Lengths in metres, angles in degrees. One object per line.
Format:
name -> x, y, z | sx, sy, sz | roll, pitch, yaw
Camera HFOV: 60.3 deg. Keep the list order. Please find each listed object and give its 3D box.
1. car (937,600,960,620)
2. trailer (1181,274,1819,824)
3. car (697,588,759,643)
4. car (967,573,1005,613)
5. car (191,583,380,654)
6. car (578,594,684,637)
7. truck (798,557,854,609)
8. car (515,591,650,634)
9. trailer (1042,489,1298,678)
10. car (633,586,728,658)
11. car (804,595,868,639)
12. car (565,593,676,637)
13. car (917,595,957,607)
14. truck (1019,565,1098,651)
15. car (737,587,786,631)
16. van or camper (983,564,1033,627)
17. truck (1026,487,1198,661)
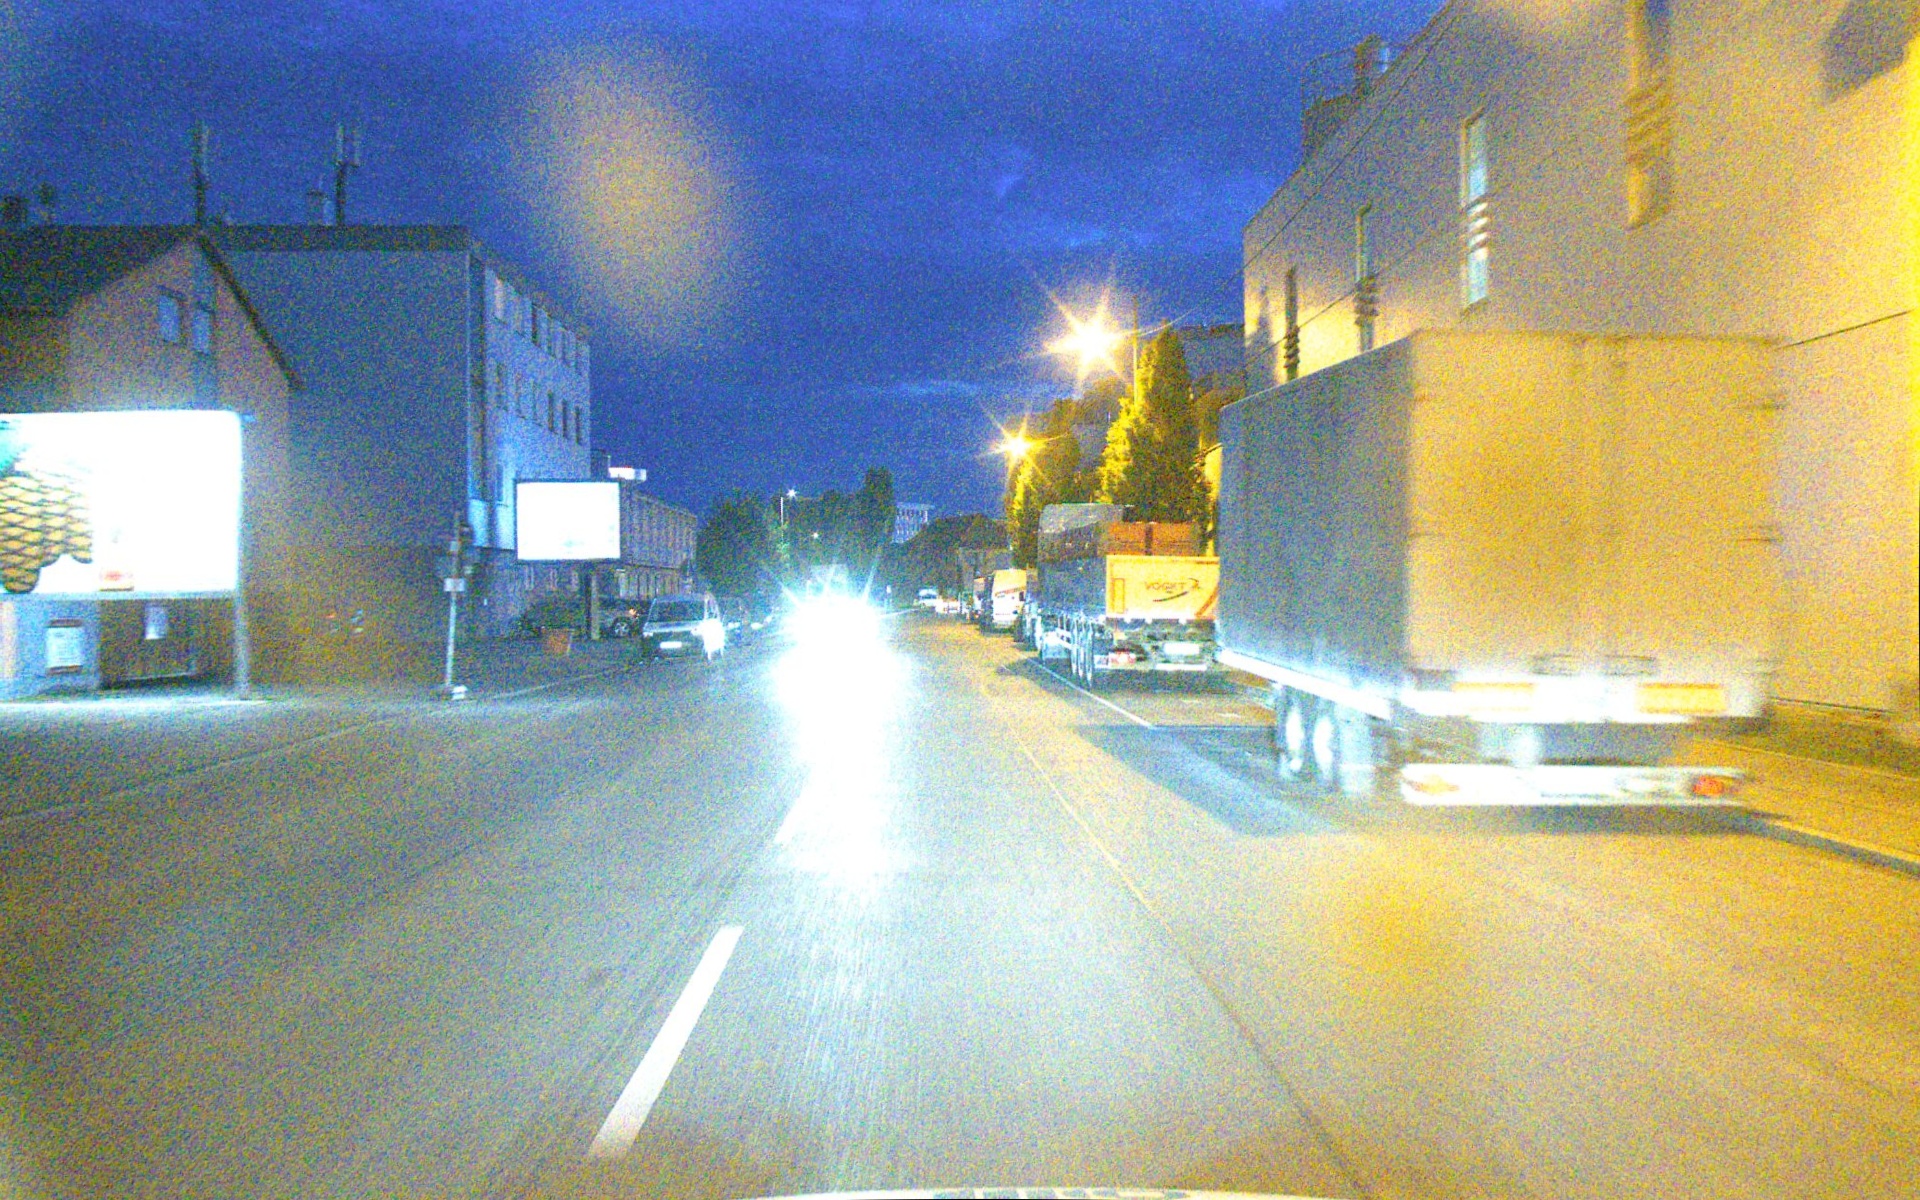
car -> -1.023, 0.861, 142.589 | 1.953, 1.713, 3.999 | -1, 0, -1
trailer -> 4.026, -0.305, 14.584 | 2.633, 3.525, 7.803 | 0, -1, -4
car -> -7.729, 0.494, 55.333 | 1.645, 1.766, 4.353 | -1, 0, -3
car -> 1.414, -0.369, 92.292 | 1.953, 2.183, 3.999 | -1, 0, -1
car -> -16.789, 0.451, 41.327 | 3.908, 1.680, 1.998 | -1, 0, -4
car -> -13.777, 0.632, 69.168 | 3.941, 1.622, 1.982 | -2, -1, -28
truck -> -9.935, -1.224, 121.555 | 3.816, 3.685, 8.248 | -1, 0, -6
car -> -13.865, 0.440, 60.747 | 4.553, 1.511, 1.985 | -1, 0, -24
trailer -> 3.504, -0.216, 30.895 | 3.120, 2.797, 10.712 | -2, 0, -1
car -> -7.494, 0.570, 44.647 | 1.953, 1.825, 3.999 | -1, 0, -1
car -> -4.199, 0.560, 56.555 | 1.953, 1.422, 3.999 | -1, 0, -1
car -> -13.602, 0.601, 66.213 | 3.941, 1.622, 1.982 | -2, -1, -28
car -> -2.582, 0.118, 187.093 | 4.437, 1.404, 2.000 | 0, -1, 2
truck -> 2.934, 0.230, 50.189 | 1.953, 2.450, 5.291 | -1, 0, -1
car -> -8.376, 0.372, 70.103 | 1.860, 1.766, 4.351 | -1, 0, -5
van or camper -> 2.040, -0.195, 71.863 | 1.953, 2.627, 4.914 | -1, 0, -1
truck -> 3.331, -0.524, 38.036 | 3.088, 3.524, 6.671 | -2, -1, -1
